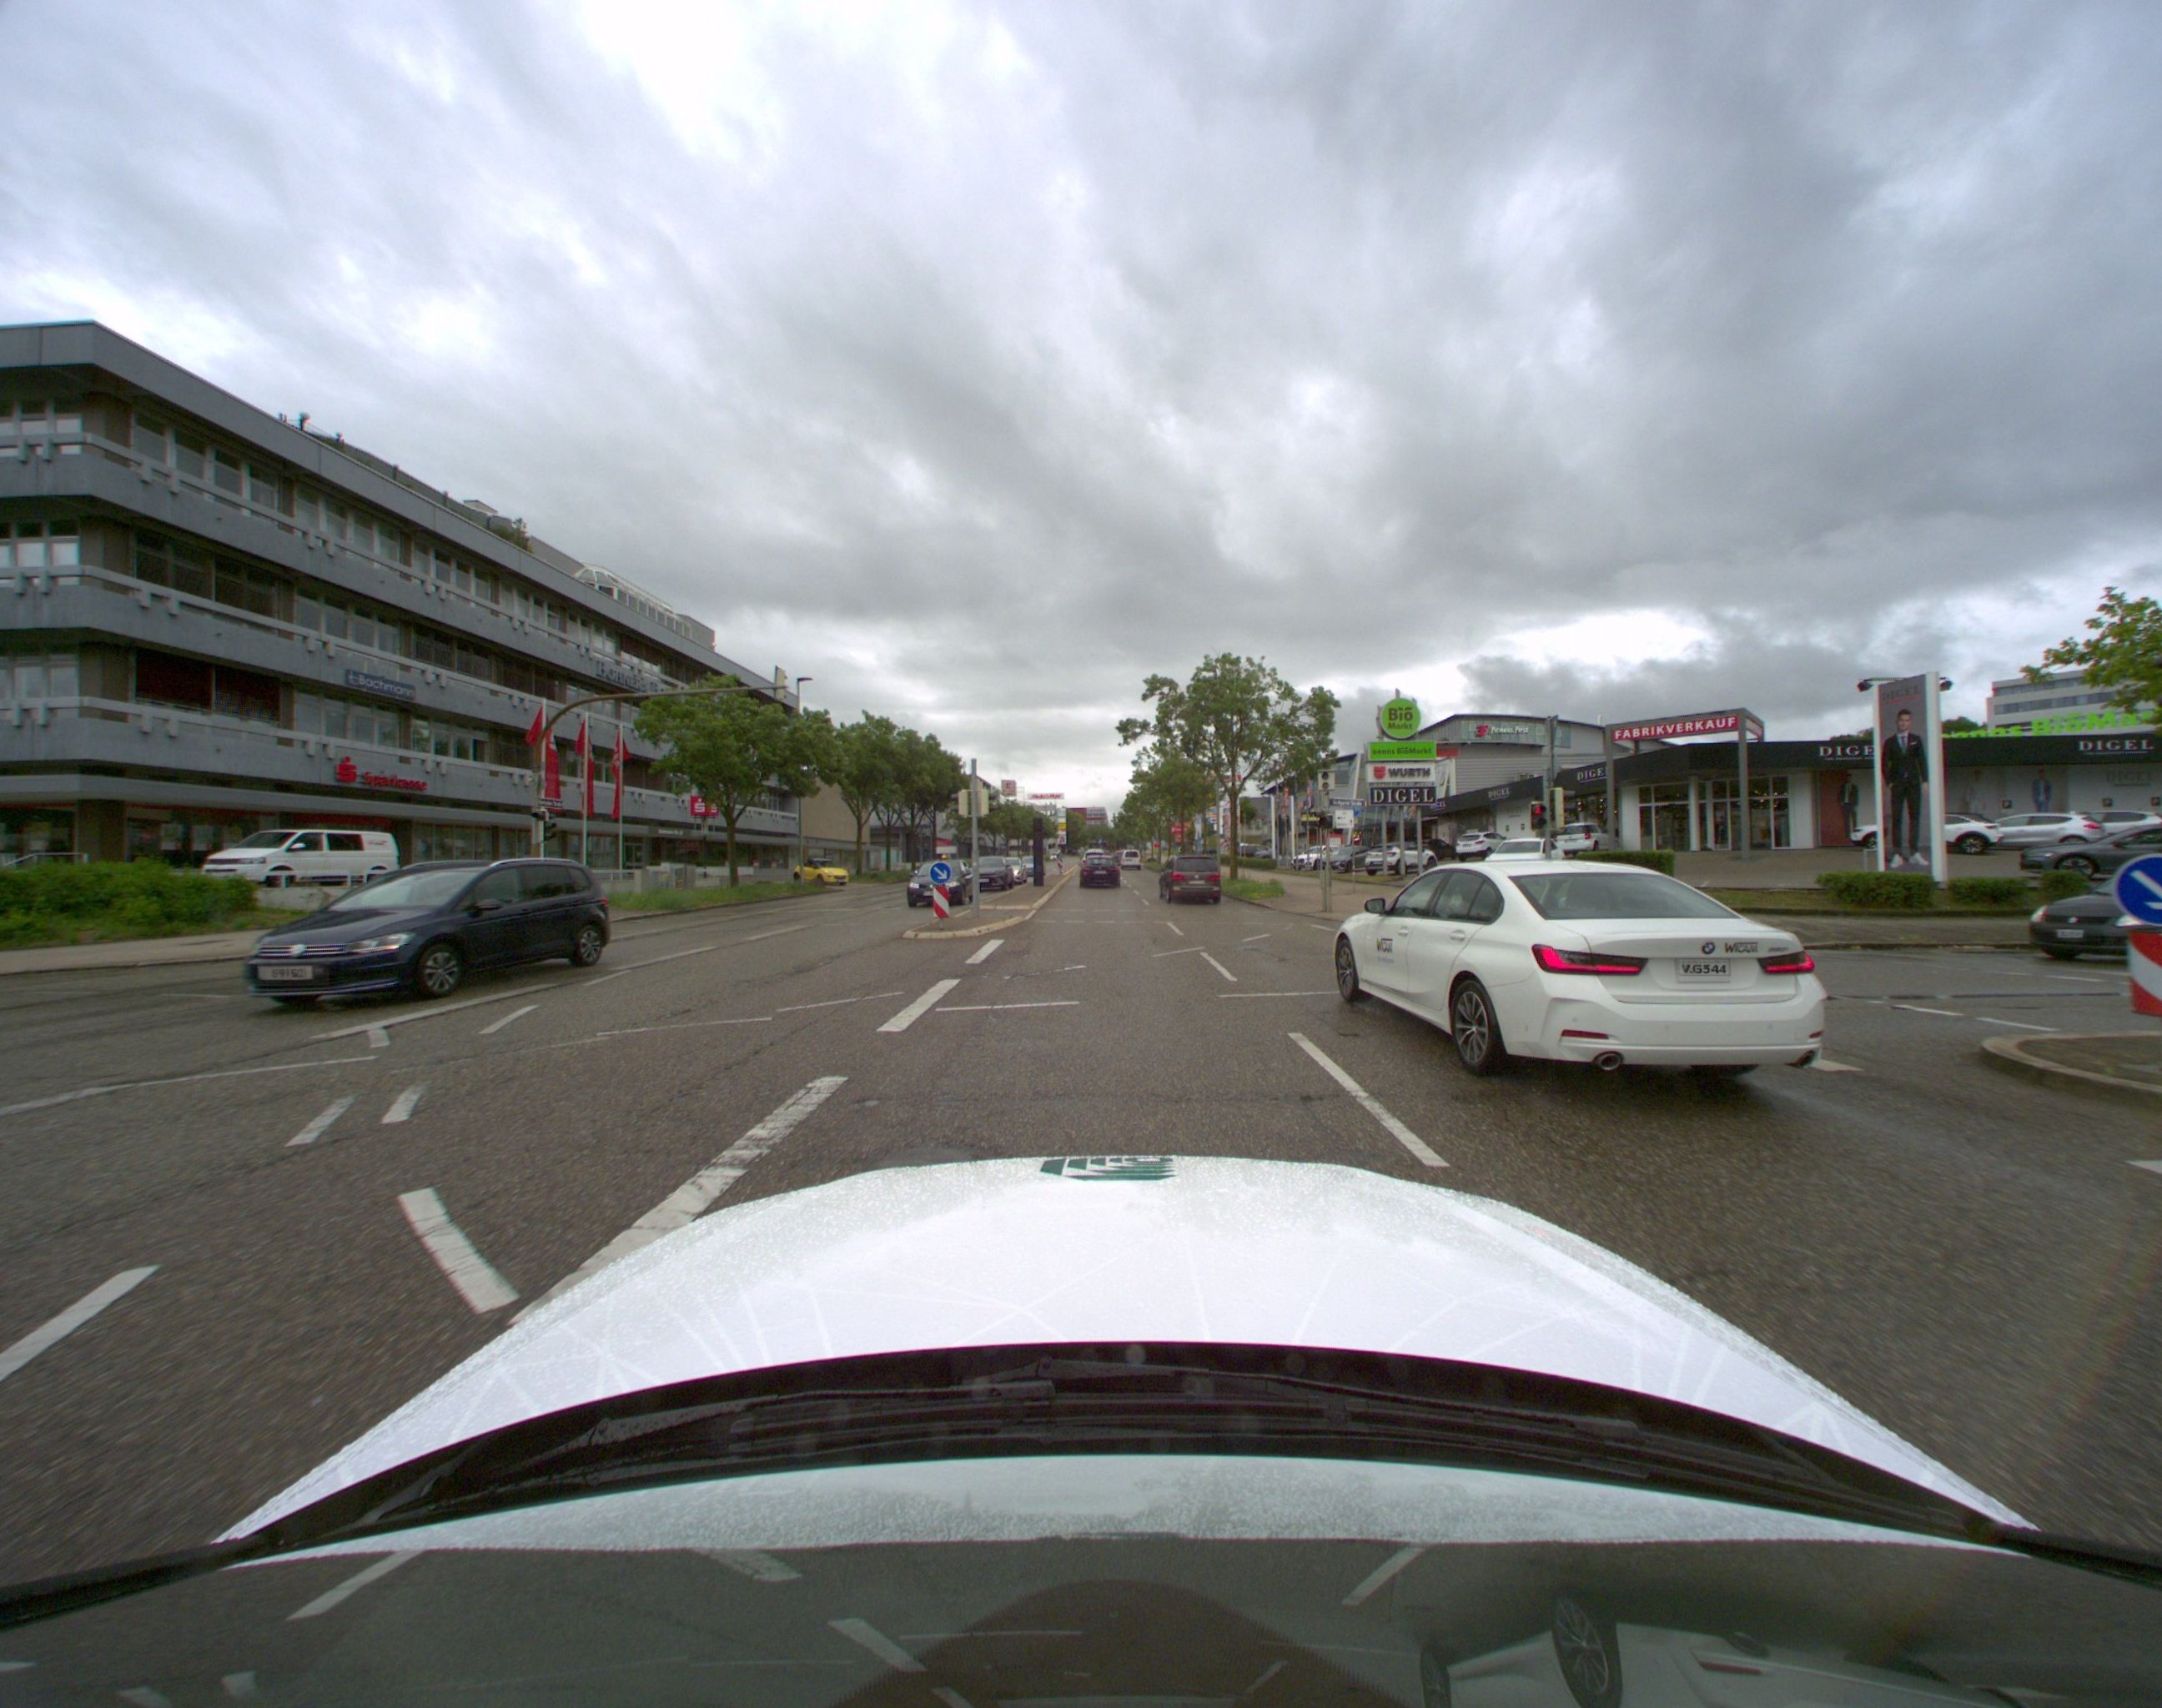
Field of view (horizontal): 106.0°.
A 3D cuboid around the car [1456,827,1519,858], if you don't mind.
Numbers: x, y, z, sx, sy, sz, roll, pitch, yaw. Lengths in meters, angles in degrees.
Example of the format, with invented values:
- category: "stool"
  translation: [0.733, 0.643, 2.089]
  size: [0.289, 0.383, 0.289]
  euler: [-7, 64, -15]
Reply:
- category: "car"
  translation: [24.365, -0.681, 48.782]
  size: [4.174, 1.771, 1.718]
  euler: [-1, 0, -38]

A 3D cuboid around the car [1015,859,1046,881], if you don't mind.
- category: "car"
  translation: [-3.502, 1.070, 57.462]
  size: [1.717, 1.398, 4.790]
  euler: [-3, 0, 1]

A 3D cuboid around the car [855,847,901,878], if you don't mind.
- category: "car"
  translation: [-14.107, 0.609, 56.846]
  size: [1.985, 2.014, 4.002]
  euler: [1, -1, 3]

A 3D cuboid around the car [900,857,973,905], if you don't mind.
- category: "car"
  translation: [-4.584, 0.810, 26.334]
  size: [1.677, 1.377, 3.997]
  euler: [-1, 0, -2]

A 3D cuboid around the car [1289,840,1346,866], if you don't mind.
- category: "car"
  translation: [15.595, -0.080, 53.556]
  size: [3.616, 1.536, 1.776]
  euler: [-2, 0, -38]

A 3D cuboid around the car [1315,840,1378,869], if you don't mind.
- category: "car"
  translation: [14.976, 0.012, 45.864]
  size: [3.616, 1.536, 1.625]
  euler: [-1, 0, -38]

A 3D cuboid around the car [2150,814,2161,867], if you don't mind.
- category: "car"
  translation: [31.349, -0.379, 21.271]
  size: [1.992, 1.380, 4.107]
  euler: [2, -2, -38]

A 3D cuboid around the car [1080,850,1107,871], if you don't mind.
- category: "car"
  translation: [0.802, 0.418, 55.853]
  size: [1.677, 1.377, 3.997]
  euler: [-1, 0, -2]

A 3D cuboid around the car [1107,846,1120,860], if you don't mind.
- category: "car"
  translation: [4.167, -0.094, 104.228]
  size: [1.678, 1.684, 3.405]
  euler: [1, -1, 3]

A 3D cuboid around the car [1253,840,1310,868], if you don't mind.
- category: "car"
  translation: [15.799, -0.013, 64.406]
  size: [4.093, 2.106, 1.801]
  euler: [-1, 0, 3]

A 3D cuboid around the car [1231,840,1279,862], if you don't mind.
- category: "car"
  translation: [16.109, -0.239, 75.360]
  size: [4.093, 1.904, 1.801]
  euler: [-2, 0, 3]

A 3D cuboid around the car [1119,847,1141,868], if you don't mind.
- category: "car"
  translation: [4.447, 0.317, 73.961]
  size: [1.775, 1.866, 4.001]
  euler: [-2, 0, 1]

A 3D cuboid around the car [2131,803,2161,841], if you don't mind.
- category: "car"
  translation: [43.455, -1.285, 31.061]
  size: [1.746, 1.481, 4.106]
  euler: [-1, 0, -39]

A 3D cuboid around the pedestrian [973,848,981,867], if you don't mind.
- category: "pedestrian"
  translation: [-12.010, 0.407, 94.057]
  size: [0.856, 2.218, 0.846]
  euler: [-1, 0, -1]

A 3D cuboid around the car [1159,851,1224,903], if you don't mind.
- category: "car"
  translation: [3.697, 0.728, 27.794]
  size: [1.794, 1.587, 4.453]
  euler: [1, 0, 3]

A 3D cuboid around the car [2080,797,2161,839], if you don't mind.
- category: "car"
  translation: [40.342, -1.356, 30.214]
  size: [1.746, 1.481, 4.106]
  euler: [-1, 0, -39]

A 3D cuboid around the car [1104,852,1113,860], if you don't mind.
- category: "car"
  translation: [5.099, 0.401, 151.355]
  size: [1.614, 1.495, 3.360]
  euler: [1, -1, 1]

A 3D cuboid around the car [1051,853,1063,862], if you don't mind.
- category: "car"
  translation: [-4.104, 0.630, 140.305]
  size: [1.936, 1.448, 4.001]
  euler: [0, 0, 1]

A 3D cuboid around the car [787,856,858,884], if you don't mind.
- category: "car"
  translation: [-15.154, 0.935, 47.668]
  size: [3.948, 1.552, 1.912]
  euler: [-2, 0, 36]

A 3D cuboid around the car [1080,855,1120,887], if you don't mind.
- category: "car"
  translation: [0.890, 0.743, 37.805]
  size: [1.775, 1.398, 4.001]
  euler: [0, 0, 1]

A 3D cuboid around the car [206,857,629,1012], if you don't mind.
- category: "car"
  translation: [-8.274, 0.865, 10.839]
  size: [1.903, 1.608, 4.366]
  euler: [-1, 0, 2]

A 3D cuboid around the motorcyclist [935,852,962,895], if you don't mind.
- category: "motorcyclist"
  translation: [-5.013, 0.729, 30.958]
  size: [0.804, 1.559, 1.267]
  euler: [-1, 0, 0]

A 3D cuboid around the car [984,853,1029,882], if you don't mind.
- category: "car"
  translation: [-3.932, 0.694, 43.895]
  size: [1.834, 1.377, 4.863]
  euler: [-4, 0, 1]

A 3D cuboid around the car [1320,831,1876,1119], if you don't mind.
- category: "car"
  translation: [3.514, 0.678, 6.778]
  size: [1.794, 1.544, 4.621]
  euler: [1, 0, 1]

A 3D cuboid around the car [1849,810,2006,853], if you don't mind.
- category: "car"
  translation: [33.006, -0.848, 31.848]
  size: [1.746, 1.481, 4.106]
  euler: [-1, 0, -39]

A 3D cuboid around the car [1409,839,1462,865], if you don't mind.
- category: "car"
  translation: [24.170, -0.146, 55.463]
  size: [3.995, 1.720, 1.615]
  euler: [-1, 0, -38]

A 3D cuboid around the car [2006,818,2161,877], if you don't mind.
- category: "car"
  translation: [27.948, -0.191, 21.234]
  size: [2.011, 1.486, 4.948]
  euler: [-1, 0, -43]

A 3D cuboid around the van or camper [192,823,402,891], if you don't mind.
- category: "van or camper"
  translation: [-24.998, 0.121, 26.299]
  size: [1.986, 1.967, 4.790]
  euler: [1, -1, 2]

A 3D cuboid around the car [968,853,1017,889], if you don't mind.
- category: "car"
  translation: [-3.910, 0.722, 36.669]
  size: [1.740, 1.489, 4.826]
  euler: [-1, 0, -1]

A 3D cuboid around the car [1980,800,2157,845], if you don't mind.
- category: "car"
  translation: [37.120, -1.137, 30.728]
  size: [1.745, 1.481, 4.109]
  euler: [-1, 0, -34]

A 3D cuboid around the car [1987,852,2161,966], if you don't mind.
- category: "car"
  translation: [16.299, 0.721, 11.906]
  size: [3.964, 1.489, 1.818]
  euler: [-2, -1, 2]

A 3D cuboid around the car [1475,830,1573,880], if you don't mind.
- category: "car"
  translation: [15.274, 0.007, 27.958]
  size: [1.908, 1.576, 4.314]
  euler: [-2, 0, 43]

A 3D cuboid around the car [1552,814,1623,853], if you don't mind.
- category: "car"
  translation: [24.351, -0.960, 39.106]
  size: [4.176, 1.771, 1.717]
  euler: [-1, 0, -41]

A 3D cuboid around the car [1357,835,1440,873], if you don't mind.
- category: "car"
  translation: [15.657, -0.024, 40.096]
  size: [4.047, 1.663, 1.960]
  euler: [-3, 1, -38]

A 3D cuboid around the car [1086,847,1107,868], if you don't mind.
- category: "car"
  translation: [1.579, 0.380, 81.079]
  size: [1.986, 2.014, 4.001]
  euler: [1, -1, 2]

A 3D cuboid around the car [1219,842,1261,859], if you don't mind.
- category: "car"
  translation: [16.291, -0.348, 83.634]
  size: [4.088, 1.703, 1.803]
  euler: [-1, 0, 7]
